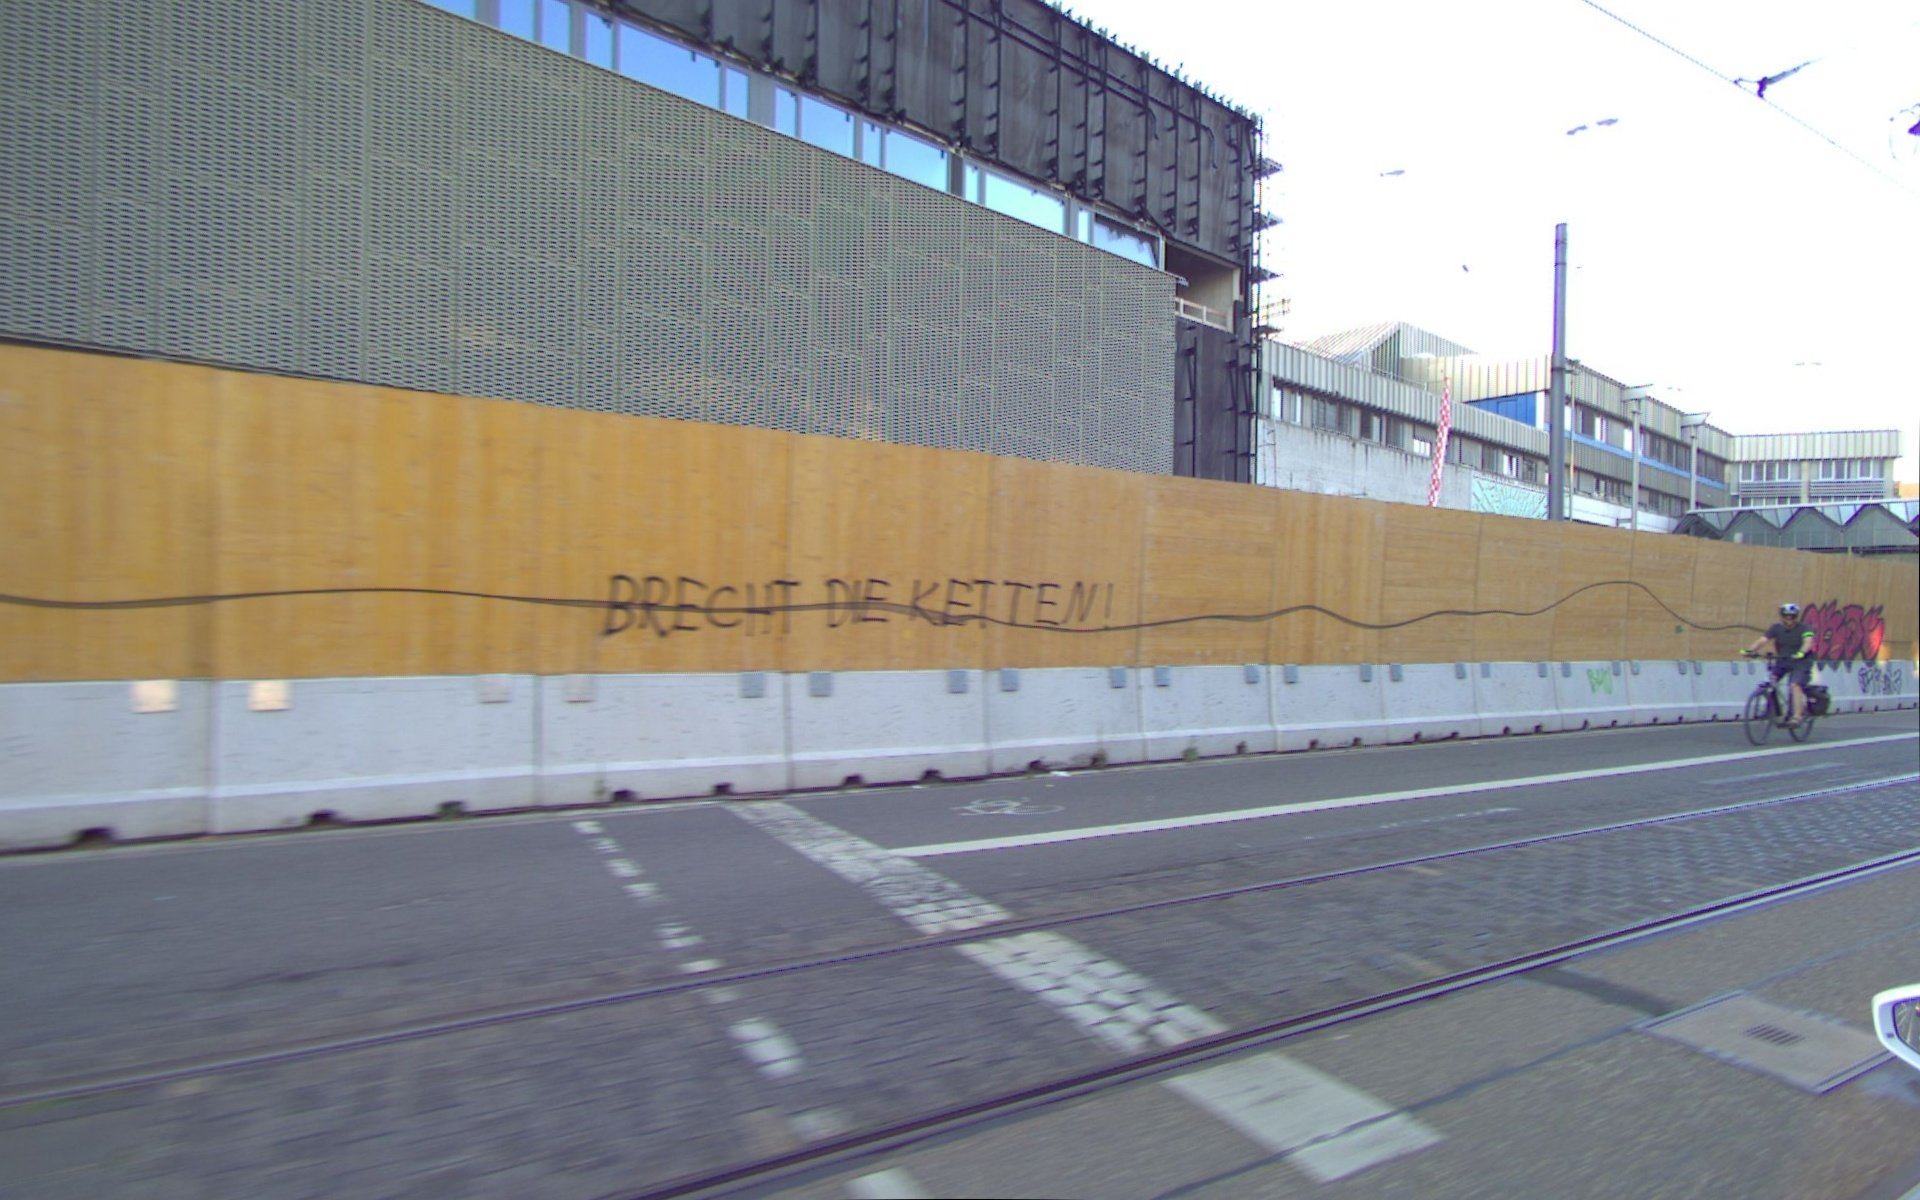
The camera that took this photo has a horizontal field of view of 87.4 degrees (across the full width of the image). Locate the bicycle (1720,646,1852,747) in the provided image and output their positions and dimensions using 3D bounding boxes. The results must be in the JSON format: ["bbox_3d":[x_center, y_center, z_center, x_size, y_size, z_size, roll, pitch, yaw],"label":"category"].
[{"bbox_3d":[11.083,1.247,13.468,1.913,1.244,0.764,1,-1,-30],"label":"bicycle"}]

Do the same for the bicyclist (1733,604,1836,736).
[{"bbox_3d":[11.041,0.915,13.453,1.006,1.687,0.764,1,-1,-30],"label":"bicyclist"}]
